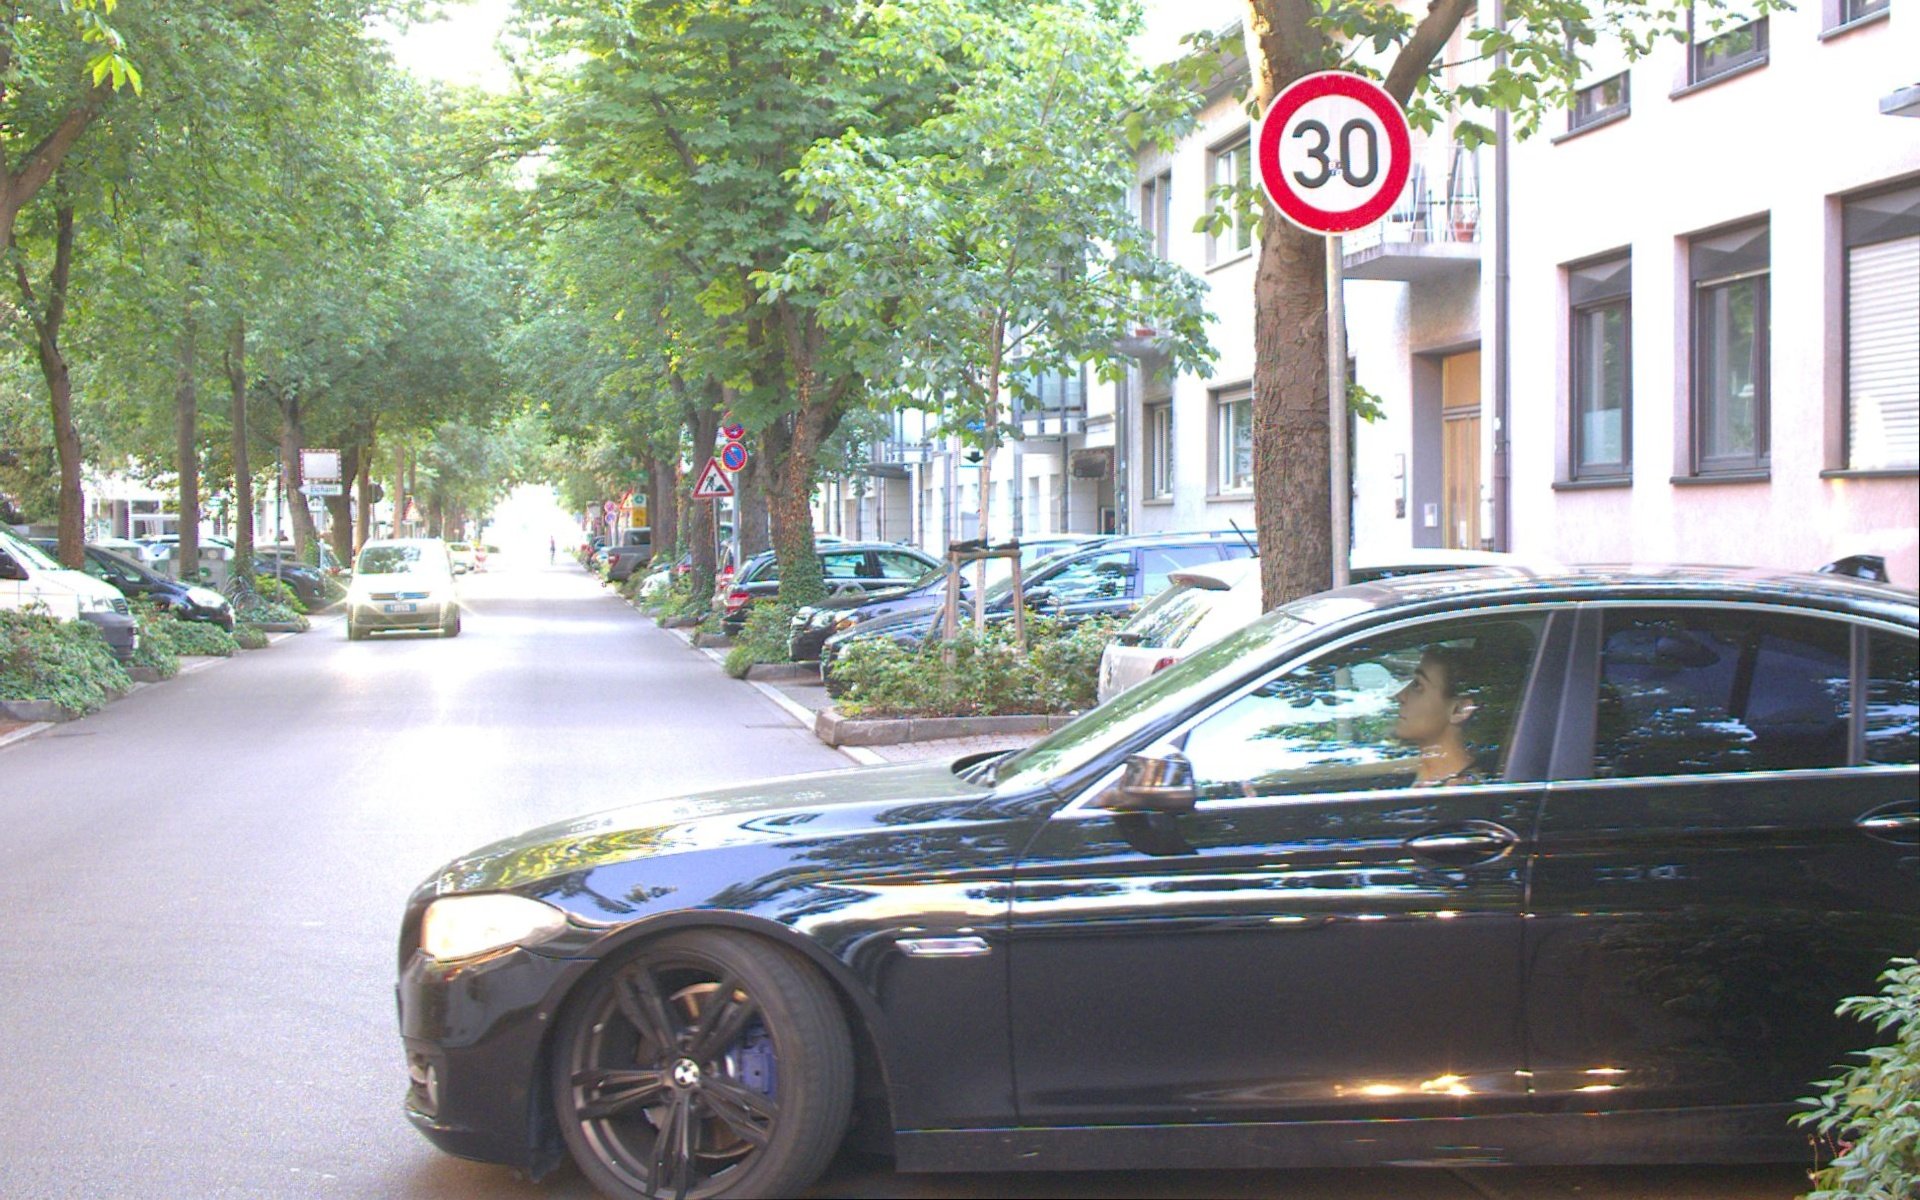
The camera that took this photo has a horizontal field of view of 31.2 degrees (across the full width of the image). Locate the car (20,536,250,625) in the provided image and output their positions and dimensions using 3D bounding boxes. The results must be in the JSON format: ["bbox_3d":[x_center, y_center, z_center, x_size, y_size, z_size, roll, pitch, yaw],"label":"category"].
[{"bbox_3d":[-15.449,-0.389,64.505,3.967,1.614,1.785,0,1,-5],"label":"car"}]

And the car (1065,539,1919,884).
[{"bbox_3d":[2.568,0.467,16.069,3.908,1.471,1.665,-1,1,-8],"label":"car"}]

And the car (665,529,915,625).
[{"bbox_3d":[-2.834,-0.392,56.819,3.967,1.522,1.785,-1,1,-8],"label":"car"}]

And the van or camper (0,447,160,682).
[{"bbox_3d":[-11.118,-0.388,37.041,4.662,2.470,2.000,0,1,-7],"label":"van or camper"}]

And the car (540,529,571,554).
[{"bbox_3d":[-25.103,-3.618,213.519,1.822,1.525,4.001,0,1,-6],"label":"car"}]

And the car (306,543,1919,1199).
[{"bbox_3d":[1.021,0.613,8.094,4.745,1.475,1.800,0,1,2],"label":"car"}]

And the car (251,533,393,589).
[{"bbox_3d":[-18.944,-1.172,102.199,3.967,1.614,1.785,0,1,-5],"label":"car"}]

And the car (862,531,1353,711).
[{"bbox_3d":[1.231,0.152,29.669,3.967,1.471,1.785,-1,1,-8],"label":"car"}]

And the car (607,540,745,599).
[{"bbox_3d":[-8.332,-0.898,100.772,3.967,1.678,1.785,0,1,-5],"label":"car"}]

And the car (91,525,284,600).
[{"bbox_3d":[-17.074,-0.832,76.119,3.967,1.614,1.785,0,1,-5],"label":"car"}]

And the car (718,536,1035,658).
[{"bbox_3d":[-1.120,-0.060,44.955,3.967,1.522,1.785,-1,1,-7],"label":"car"}]

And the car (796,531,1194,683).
[{"bbox_3d":[0.330,0.052,36.144,3.967,1.522,1.785,-1,1,-7],"label":"car"}]

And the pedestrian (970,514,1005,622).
[{"bbox_3d":[0.509,-0.602,64.075,0.589,2.007,0.669,0,1,-5],"label":"pedestrian"}]

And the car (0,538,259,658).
[{"bbox_3d":[-11.913,-0.044,48.040,3.967,1.614,1.785,-1,1,-6],"label":"car"}]

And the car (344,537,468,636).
[{"bbox_3d":[-9.104,-0.259,56.734,1.779,1.557,4.169,0,1,-6],"label":"car"}]
